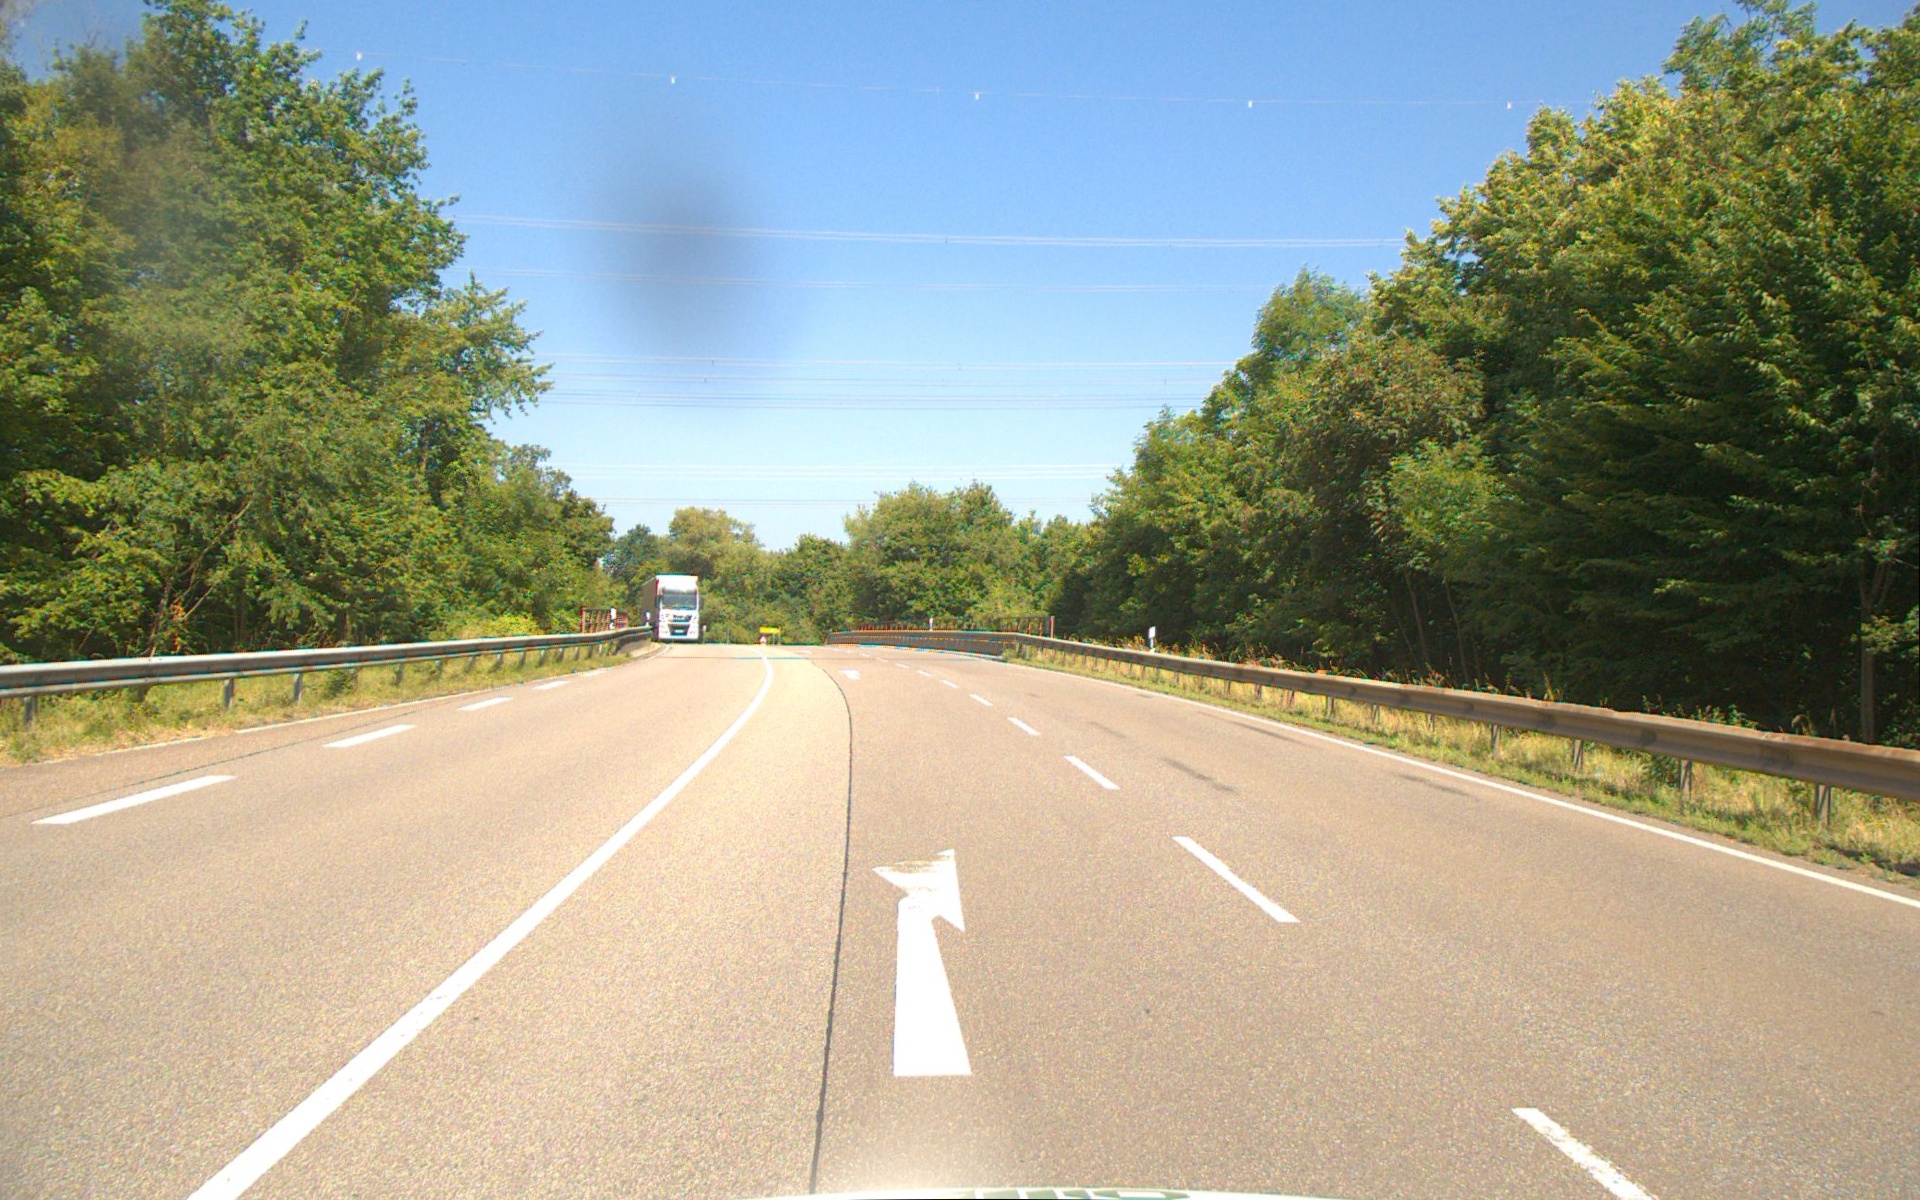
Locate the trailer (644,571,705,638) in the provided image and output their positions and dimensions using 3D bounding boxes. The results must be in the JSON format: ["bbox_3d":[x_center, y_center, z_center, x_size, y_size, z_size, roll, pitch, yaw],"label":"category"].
[{"bbox_3d":[-19.113,0.420,109.953,2.722,4.133,14.140,0,-1,-15],"label":"trailer"}]

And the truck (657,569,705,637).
[{"bbox_3d":[-17.406,0.265,103.136,2.720,4.105,5.837,0,-1,-12],"label":"truck"}]
